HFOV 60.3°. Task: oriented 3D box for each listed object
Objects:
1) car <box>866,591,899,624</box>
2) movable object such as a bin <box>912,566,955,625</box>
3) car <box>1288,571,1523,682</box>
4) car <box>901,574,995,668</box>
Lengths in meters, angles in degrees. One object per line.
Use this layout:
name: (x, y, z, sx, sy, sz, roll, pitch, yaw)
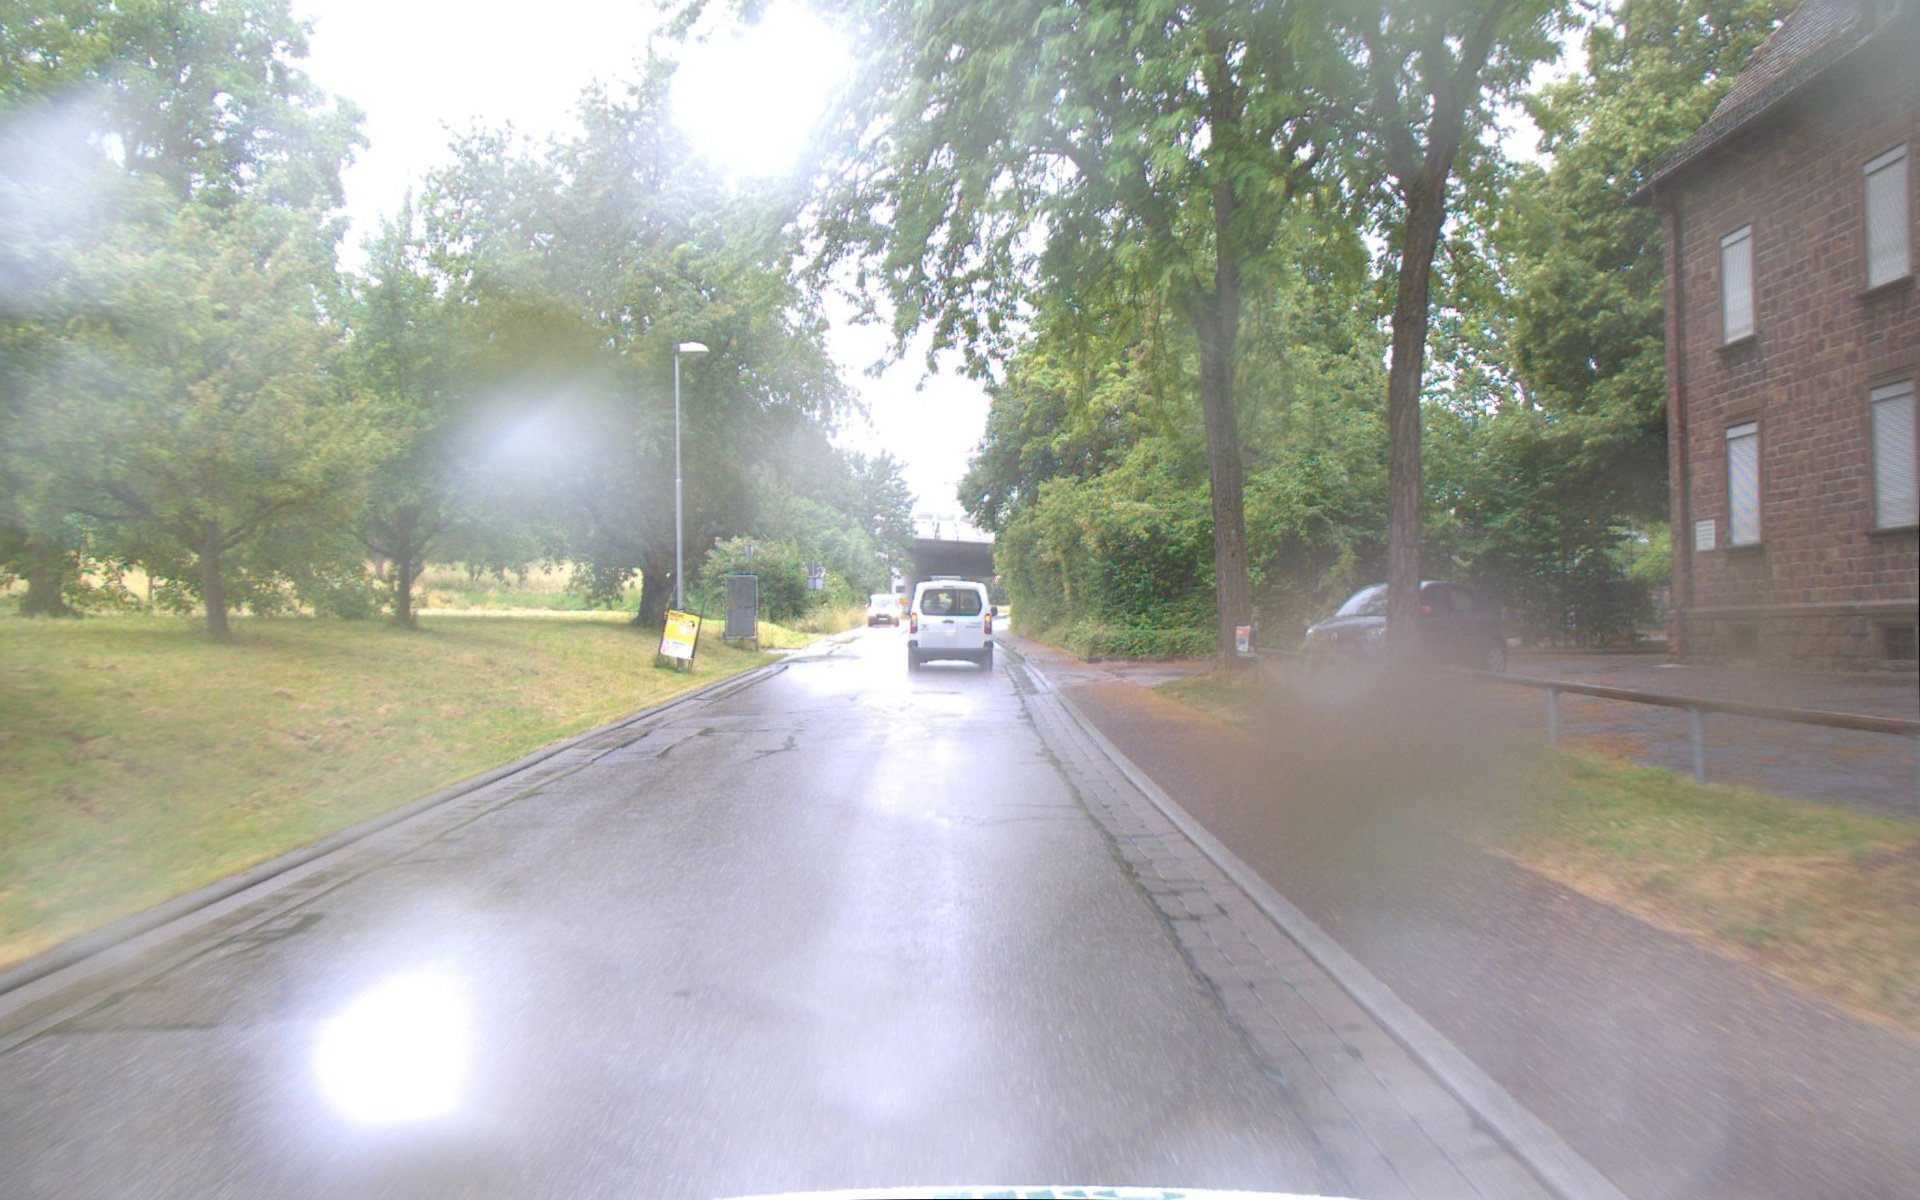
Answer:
car: (-4.383, 0.418, 94.220, 1.787, 1.864, 4.305, 0, 0, -2)
movable object such as a bin: (-1.186, -0.187, 75.708, 1.724, 2.592, 4.240, 1, 0, 2)
car: (6.823, 0.371, 25.211, 3.575, 1.578, 1.600, -1, -1, -37)
car: (-0.239, 0.400, 35.222, 1.858, 1.838, 4.000, -1, 0, 0)
